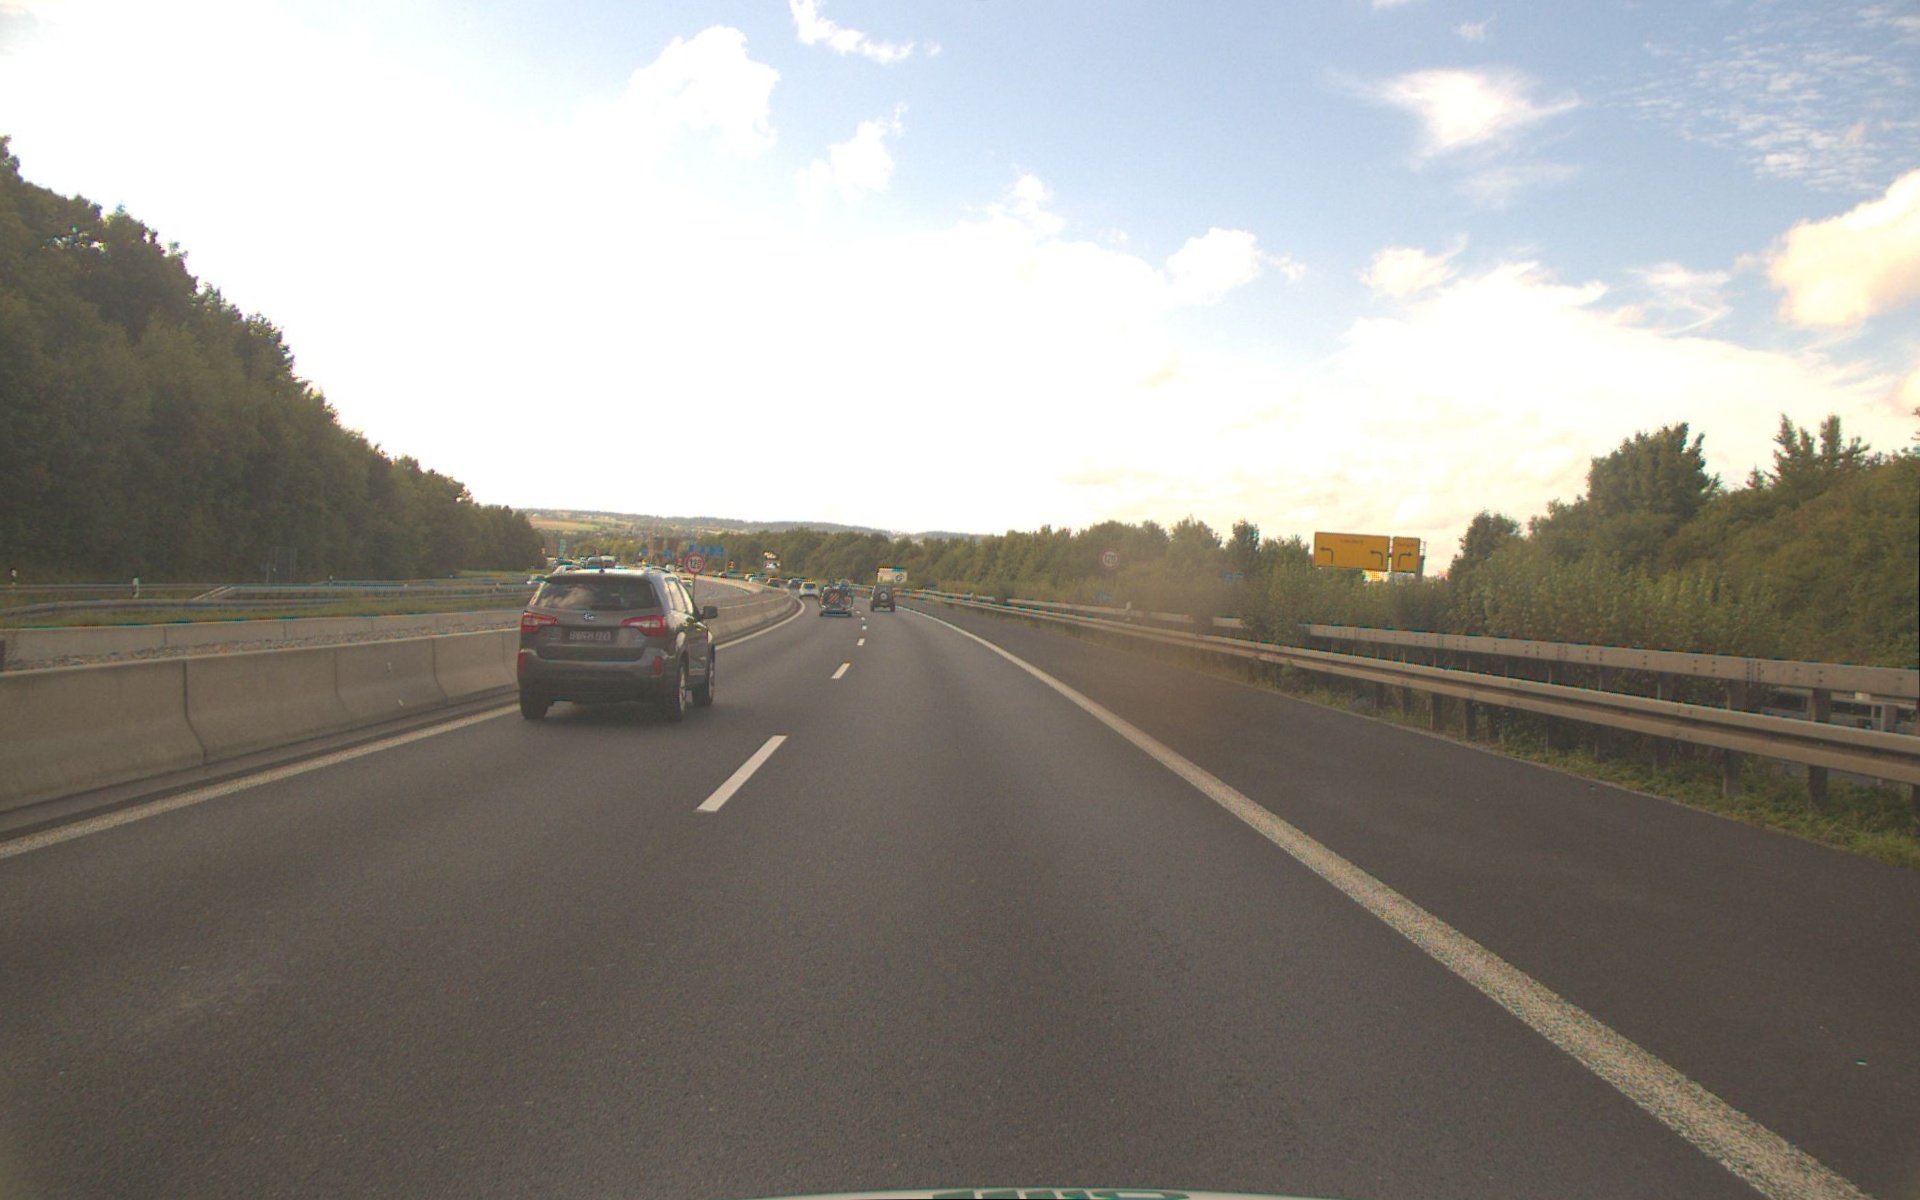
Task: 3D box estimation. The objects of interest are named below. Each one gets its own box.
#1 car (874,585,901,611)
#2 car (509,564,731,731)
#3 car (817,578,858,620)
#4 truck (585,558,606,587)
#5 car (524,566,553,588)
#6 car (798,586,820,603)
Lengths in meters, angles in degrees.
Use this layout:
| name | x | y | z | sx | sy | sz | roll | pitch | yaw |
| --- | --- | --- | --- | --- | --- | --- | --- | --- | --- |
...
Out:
| name | x | y | z | sx | sy | sz | roll | pitch | yaw |
| --- | --- | --- | --- | --- | --- | --- | --- | --- | --- |
| car | -4.834 | -0.159 | 109.272 | 1.556 | 1.625 | 4.091 | 1 | 1 | -5 |
| car | -4.033 | 0.507 | 20.477 | 1.781 | 1.766 | 5.185 | 1 | 0 | -2 |
| car | -6.597 | -0.091 | 89.350 | 1.990 | 2.189 | 3.998 | 1 | 1 | -3 |
| truck | -49.974 | -3.728 | 226.722 | 2.761 | 3.893 | 7.107 | 1 | 0 | -13 |
| car | -40.478 | -2.236 | 159.076 | 1.954 | 2.049 | 3.997 | 2 | 0 | -4 |
| car | -15.650 | -0.527 | 171.680 | 1.957 | 1.713 | 3.991 | 1 | -1 | -9 |
